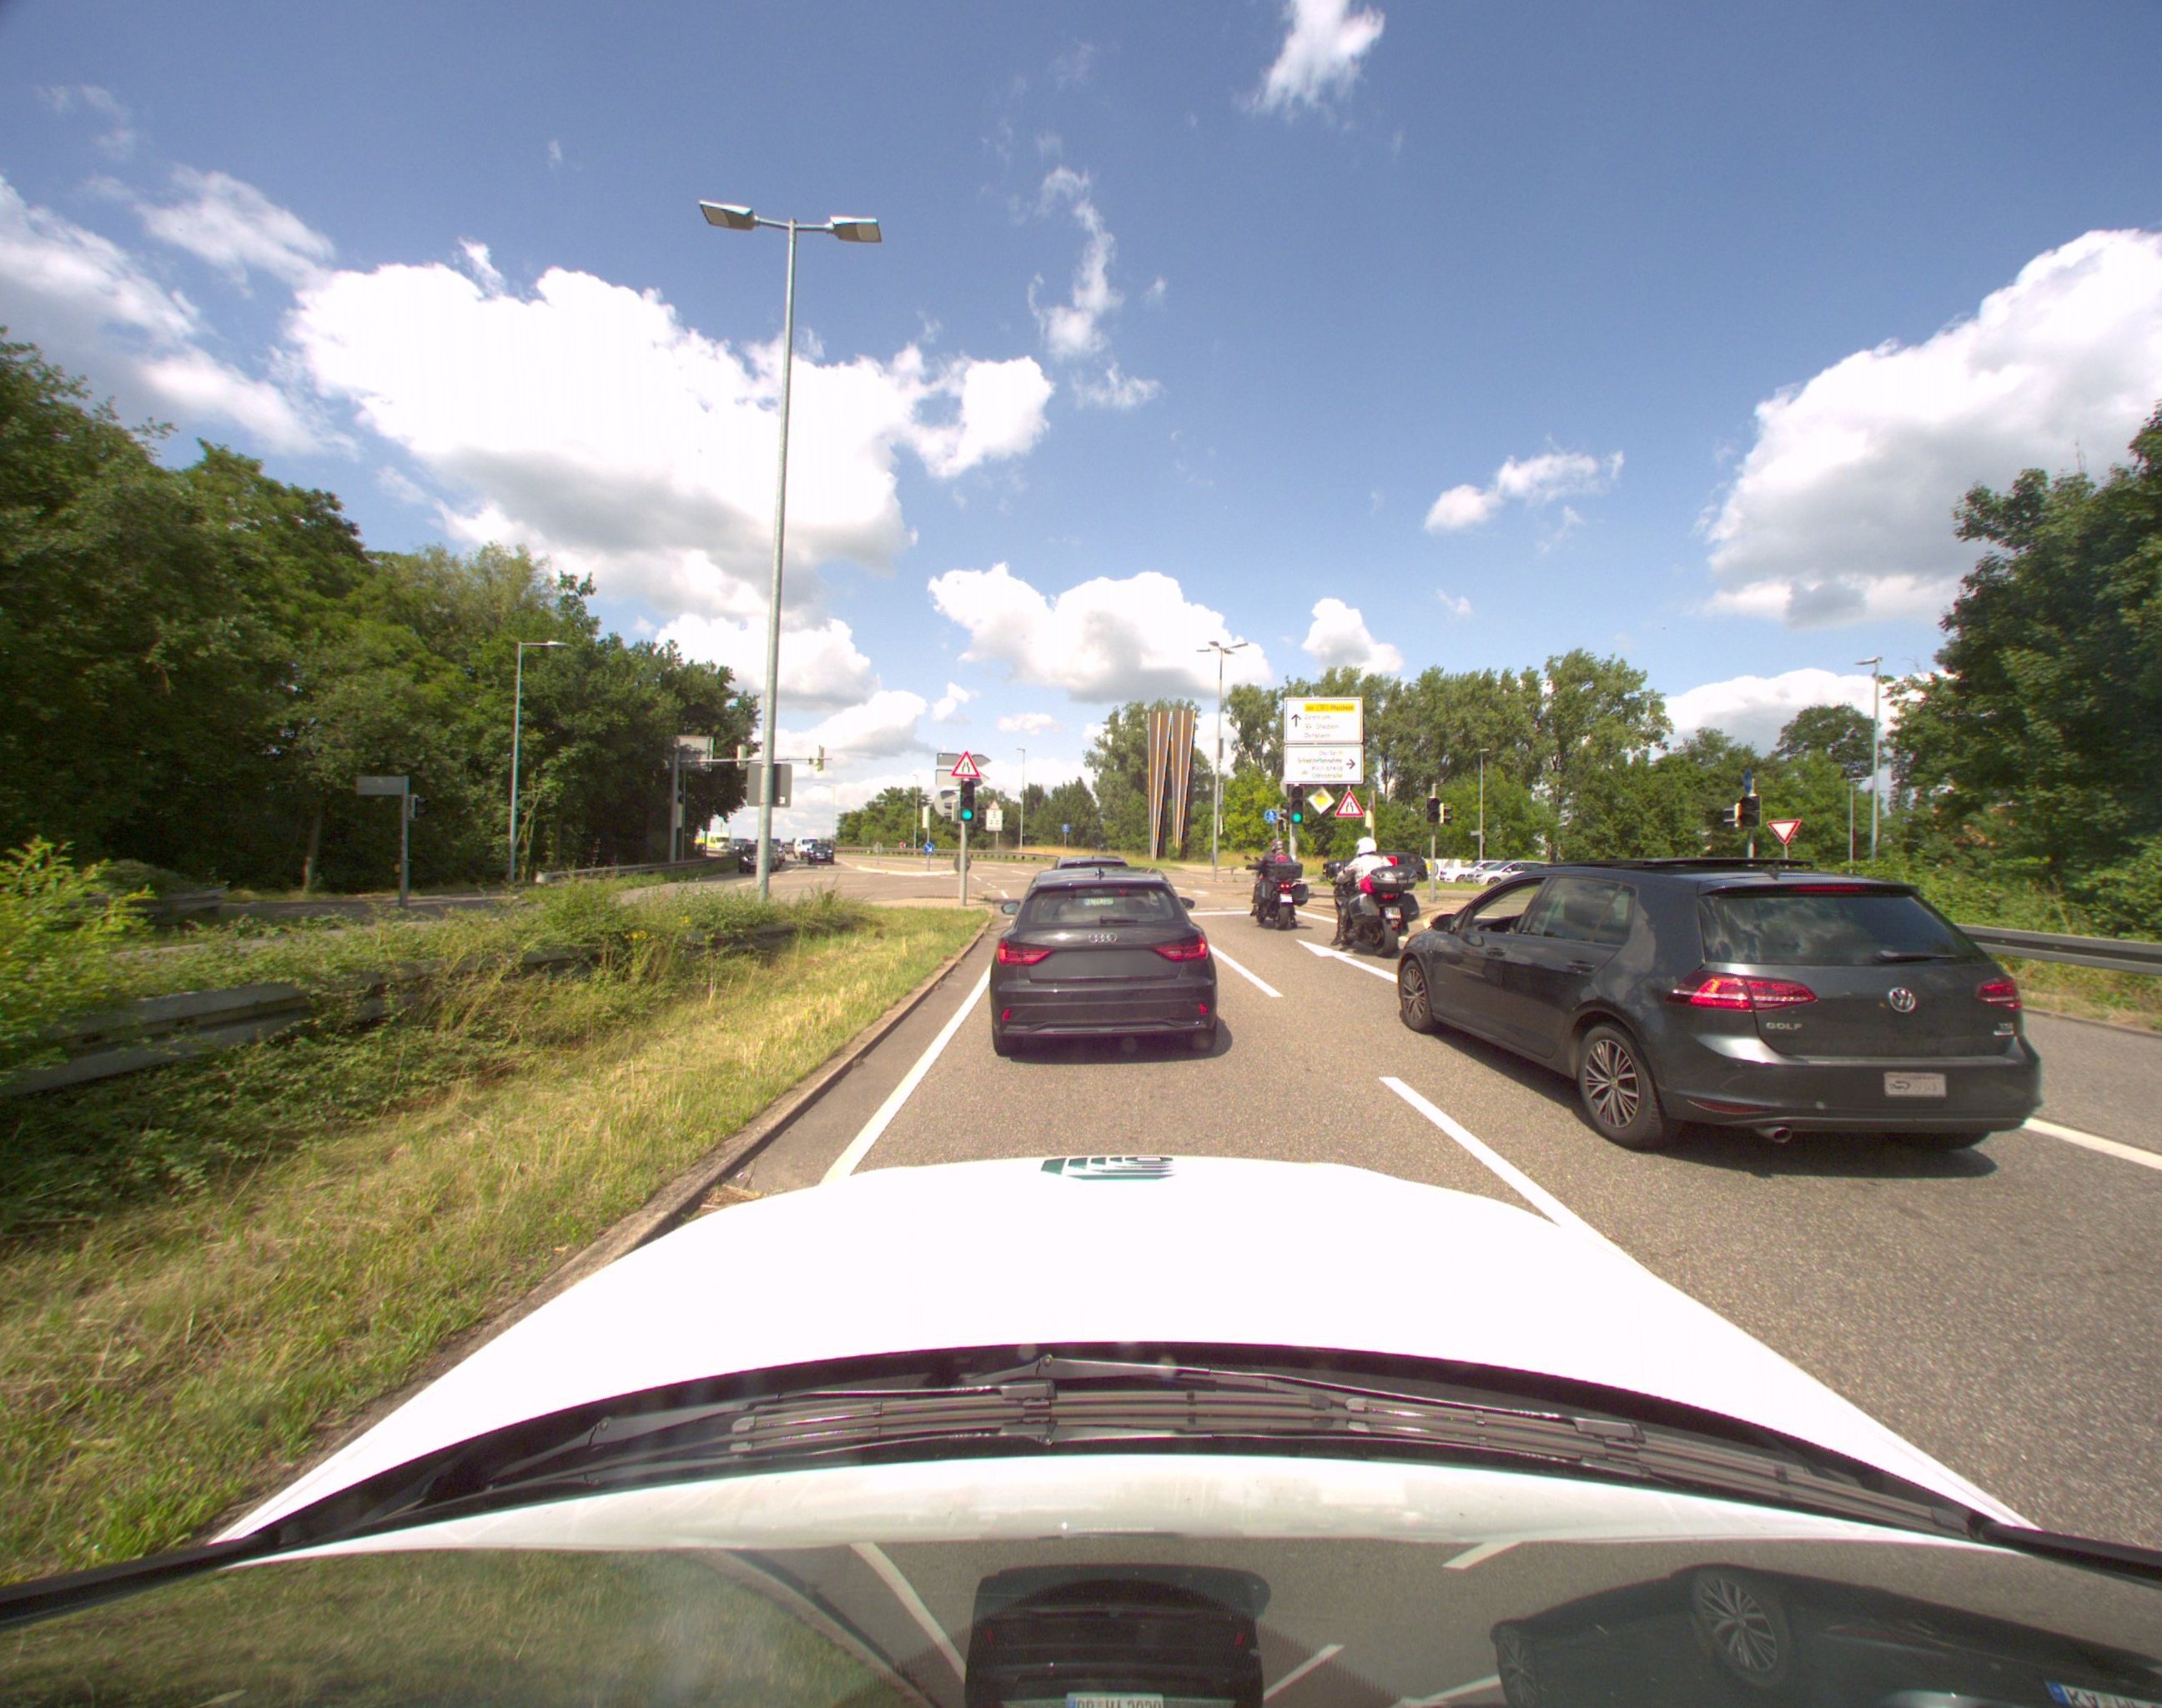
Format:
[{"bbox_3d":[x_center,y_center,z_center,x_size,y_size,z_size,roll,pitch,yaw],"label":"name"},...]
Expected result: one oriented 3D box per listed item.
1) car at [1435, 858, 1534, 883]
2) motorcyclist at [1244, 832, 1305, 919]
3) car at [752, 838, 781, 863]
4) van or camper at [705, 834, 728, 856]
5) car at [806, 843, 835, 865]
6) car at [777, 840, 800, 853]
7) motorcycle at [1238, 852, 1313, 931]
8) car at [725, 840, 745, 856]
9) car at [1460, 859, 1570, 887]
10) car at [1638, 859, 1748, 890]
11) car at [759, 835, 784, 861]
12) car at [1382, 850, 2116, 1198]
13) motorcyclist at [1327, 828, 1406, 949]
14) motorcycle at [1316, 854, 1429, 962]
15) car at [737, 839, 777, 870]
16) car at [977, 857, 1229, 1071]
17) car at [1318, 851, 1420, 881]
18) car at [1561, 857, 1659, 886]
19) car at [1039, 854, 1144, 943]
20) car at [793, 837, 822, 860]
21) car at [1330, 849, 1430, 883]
[{"bbox_3d":[21.568,0.884,43.631,4.481,1.281,1.736,1,0,-2],"label":"car"},{"bbox_3d":[3.677,0.396,15.574,0.933,1.590,1.084,0,0,1],"label":"motorcyclist"},{"bbox_3d":[-23.200,-0.257,60.219,1.849,1.802,4.299,1,0,-19],"label":"car"},{"bbox_3d":[-46.609,-1.101,103.940,2.006,2.683,6.798,0,0,-30],"label":"van or camper"},{"bbox_3d":[-18.464,-0.026,57.606,1.738,1.496,4.018,1,0,-21],"label":"car"},{"bbox_3d":[-35.624,-0.937,99.160,2.005,1.496,4.082,1,0,-28],"label":"car"},{"bbox_3d":[3.676,0.660,15.619,0.933,1.383,2.371,0,0,2],"label":"motorcycle"},{"bbox_3d":[-38.812,-0.660,91.273,1.853,1.705,4.289,1,0,-26],"label":"car"},{"bbox_3d":[21.109,0.909,39.704,4.460,1.320,1.736,1,0,-2],"label":"car"},{"bbox_3d":[30.099,0.989,40.140,4.212,1.476,1.736,1,0,-2],"label":"car"},{"bbox_3d":[-25.753,-0.502,67.631,1.850,2.100,4.295,1,0,-22],"label":"car"},{"bbox_3d":[3.613,0.722,5.517,1.725,1.476,4.047,1,0,1],"label":"car"},{"bbox_3d":[4.158,0.477,11.919,0.862,1.700,0.895,0,0,1],"label":"motorcyclist"},{"bbox_3d":[4.156,0.701,11.857,0.862,1.389,2.371,0,0,2],"label":"motorcycle"},{"bbox_3d":[-17.877,0.073,45.015,1.844,1.618,3.974,0,-1,-19],"label":"car"},{"bbox_3d":[0.214,0.776,7.661,1.720,1.404,4.002,-1,0,2],"label":"car"},{"bbox_3d":[15.333,0.627,43.521,4.831,1.545,1.737,1,0,0],"label":"car"},{"bbox_3d":[28.473,0.941,43.926,4.212,1.476,1.736,1,0,-2],"label":"car"},{"bbox_3d":[0.101,0.732,15.470,1.722,1.423,3.841,-1,0,-2],"label":"car"},{"bbox_3d":[-24.623,-0.518,73.299,2.003,2.013,4.433,1,0,-25],"label":"car"},{"bbox_3d":[14.520,0.570,39.684,4.253,1.545,1.737,1,0,0],"label":"car"}]
